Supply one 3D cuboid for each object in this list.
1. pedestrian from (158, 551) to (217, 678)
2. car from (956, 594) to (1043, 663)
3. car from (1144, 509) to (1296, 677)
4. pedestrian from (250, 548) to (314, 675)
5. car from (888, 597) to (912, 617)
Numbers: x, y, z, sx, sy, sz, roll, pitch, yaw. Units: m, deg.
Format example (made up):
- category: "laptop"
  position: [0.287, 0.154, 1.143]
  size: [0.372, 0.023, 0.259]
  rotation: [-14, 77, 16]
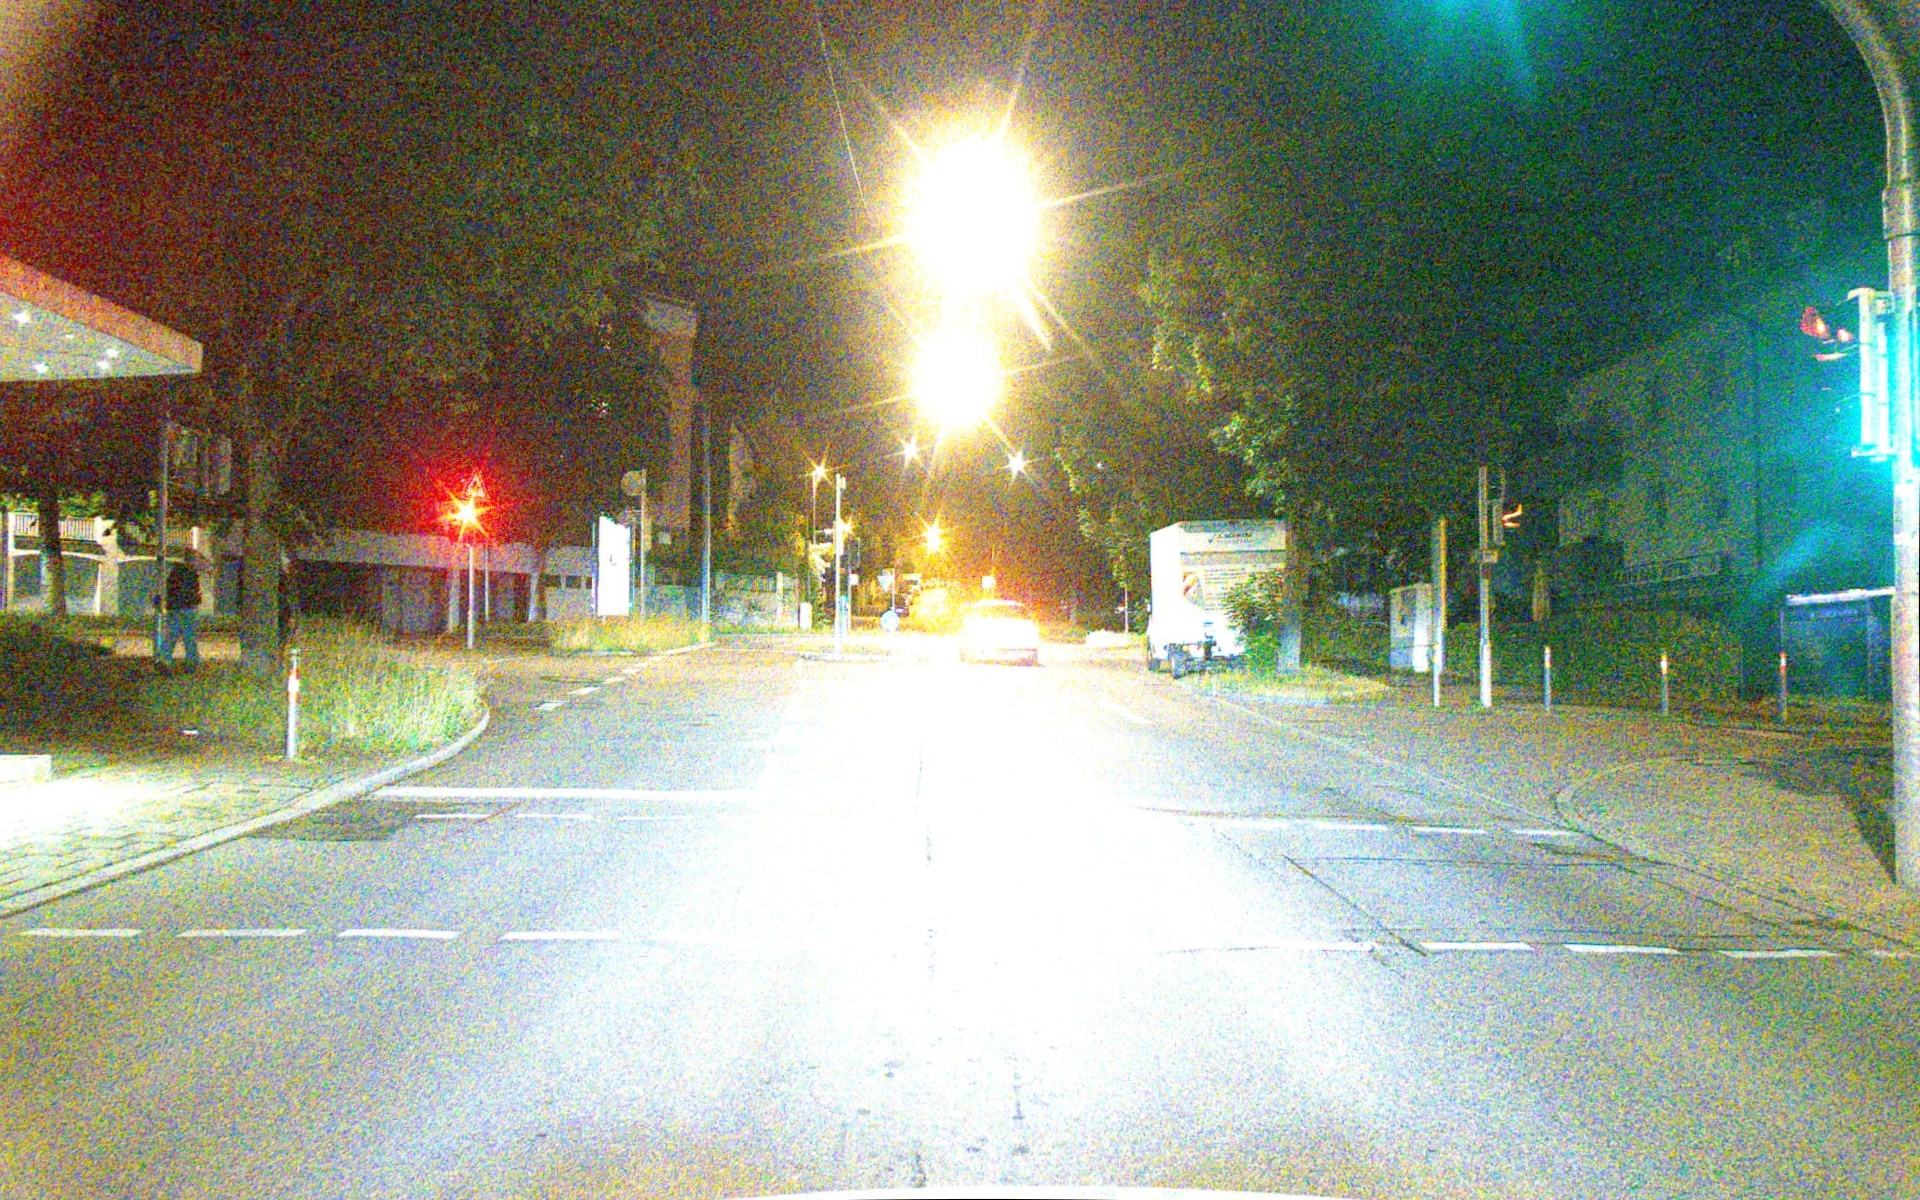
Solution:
- category: "pedestrian"
  position: [-10.940, 0.204, 23.431]
  size: [0.558, 1.761, 0.543]
  rotation: [1, -1, -1]
- category: "car"
  position: [0.881, 0.650, 39.254]
  size: [1.740, 1.512, 3.997]
  rotation: [1, 0, -3]
- category: "car"
  position: [5.253, -0.127, 34.304]
  size: [2.249, 3.147, 5.840]
  rotation: [-1, 0, 1]
- category: "pedestrian"
  position: [-9.930, 0.164, 24.231]
  size: [0.558, 1.808, 0.737]
  rotation: [3, -1, -1]
- category: "car"
  position: [-4.838, 0.586, 134.269]
  size: [1.869, 1.585, 3.903]
  rotation: [1, 0, -1]
